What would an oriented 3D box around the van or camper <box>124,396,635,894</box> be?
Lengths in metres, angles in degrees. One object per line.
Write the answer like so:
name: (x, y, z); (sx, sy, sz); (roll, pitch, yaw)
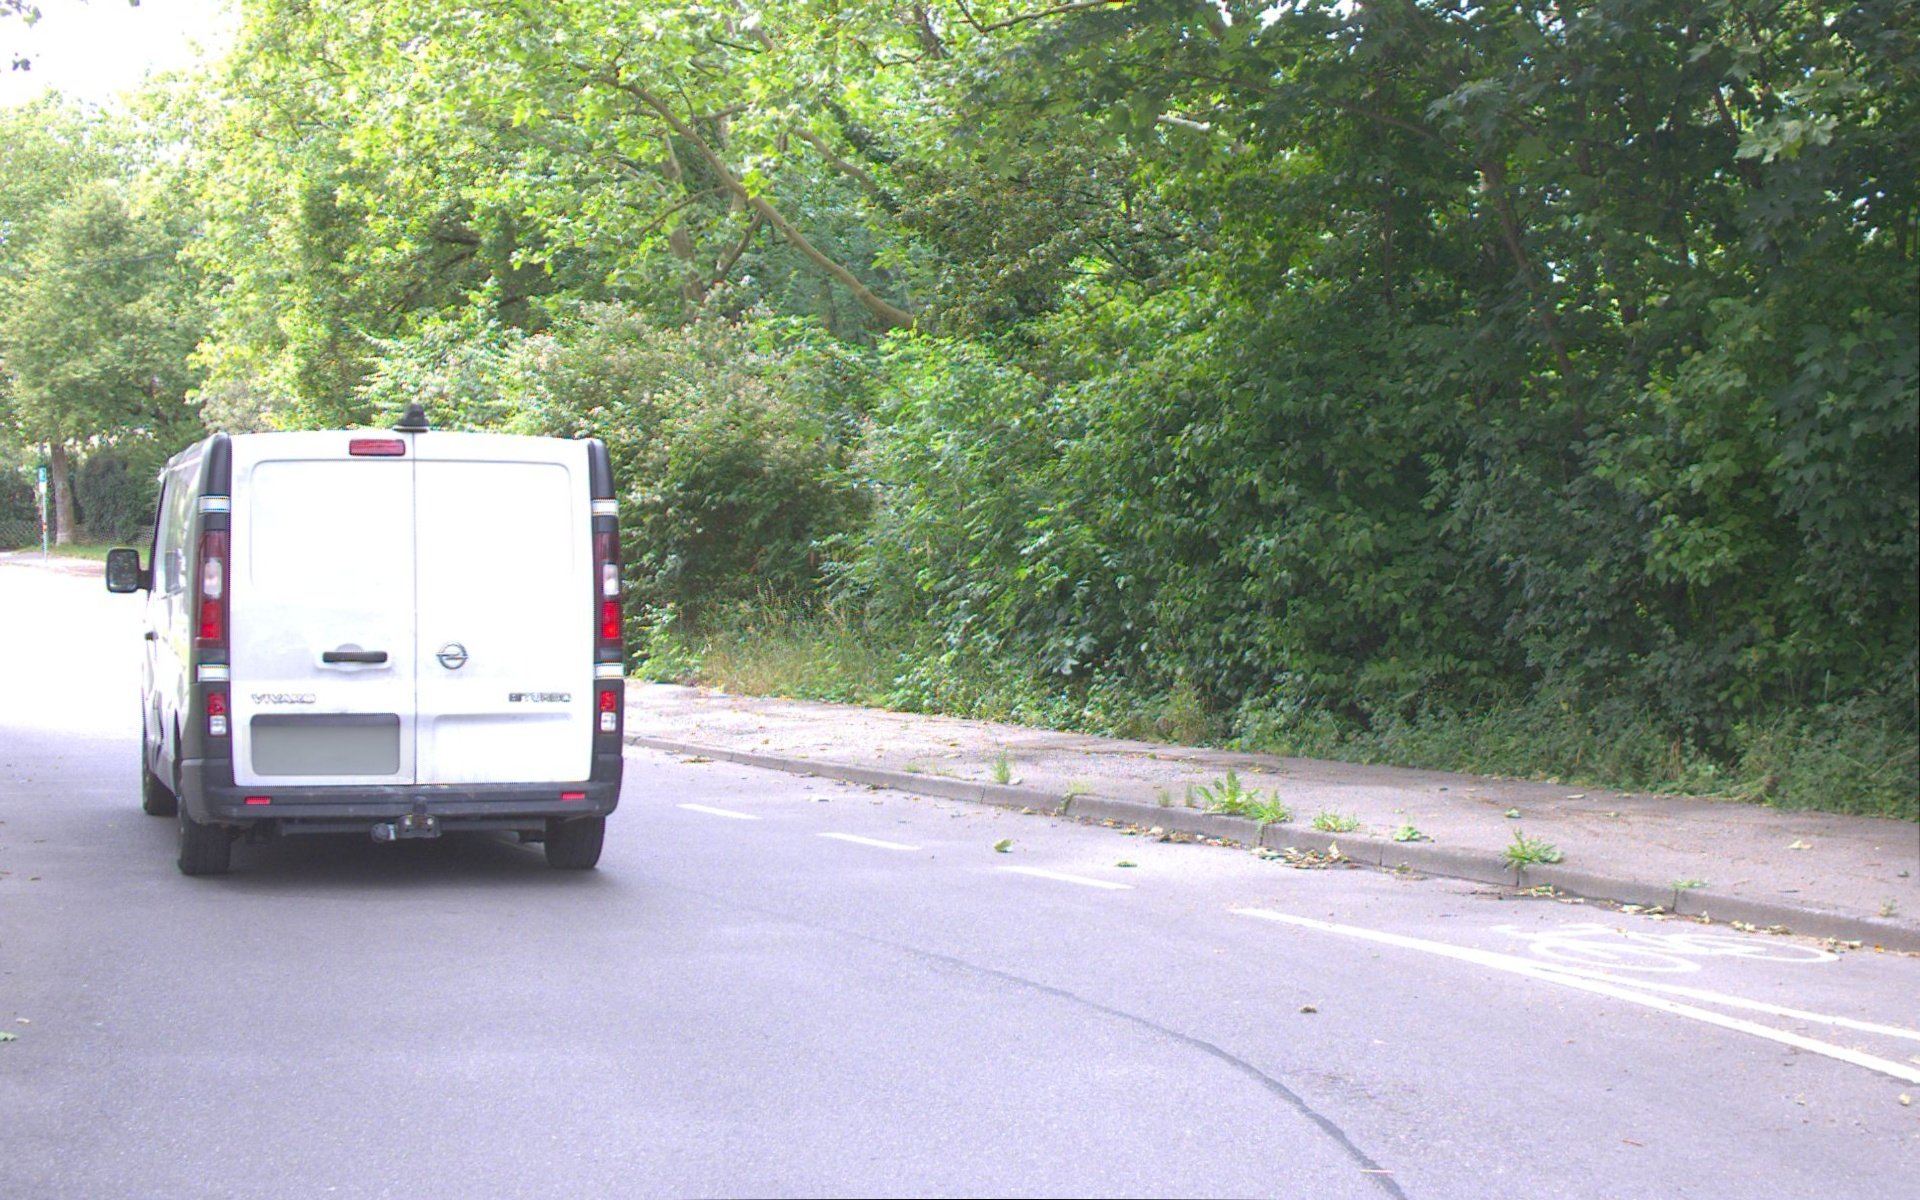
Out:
van or camper: (-2.931, 0.035, 16.474); (1.923, 2.006, 4.831); (-1, 4, -15)
